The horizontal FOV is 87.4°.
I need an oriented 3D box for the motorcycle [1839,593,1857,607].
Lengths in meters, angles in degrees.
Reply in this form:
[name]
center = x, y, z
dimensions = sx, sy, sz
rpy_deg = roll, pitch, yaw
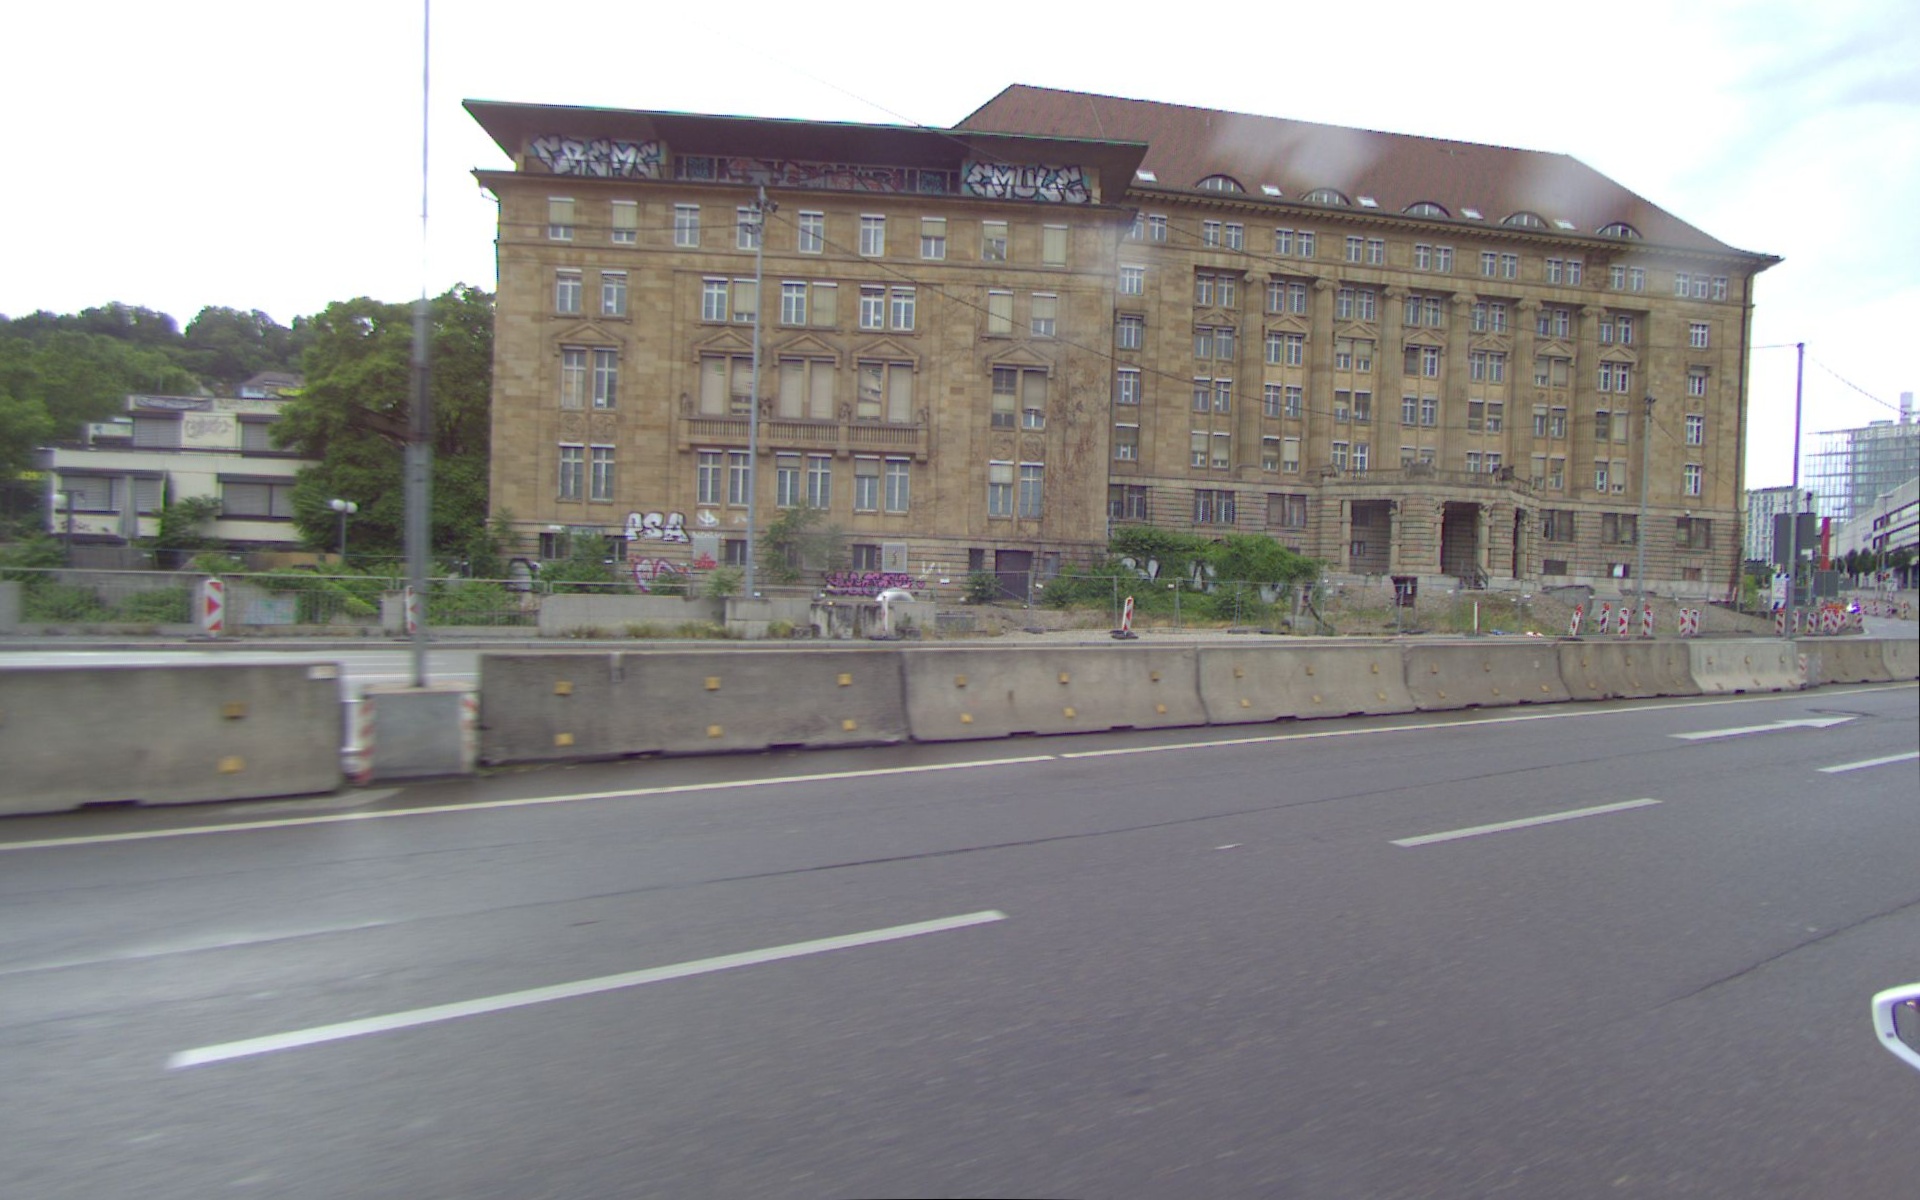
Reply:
[motorcycle]
center = 75.442, 0.026, 85.342
dimensions = 0.857, 1.164, 2.148
rpy_deg = 1, 1, 33

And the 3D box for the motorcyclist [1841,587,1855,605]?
[motorcyclist]
center = 75.469, -0.328, 85.353
dimensions = 0.787, 1.470, 0.823
rpy_deg = 1, 1, 33
